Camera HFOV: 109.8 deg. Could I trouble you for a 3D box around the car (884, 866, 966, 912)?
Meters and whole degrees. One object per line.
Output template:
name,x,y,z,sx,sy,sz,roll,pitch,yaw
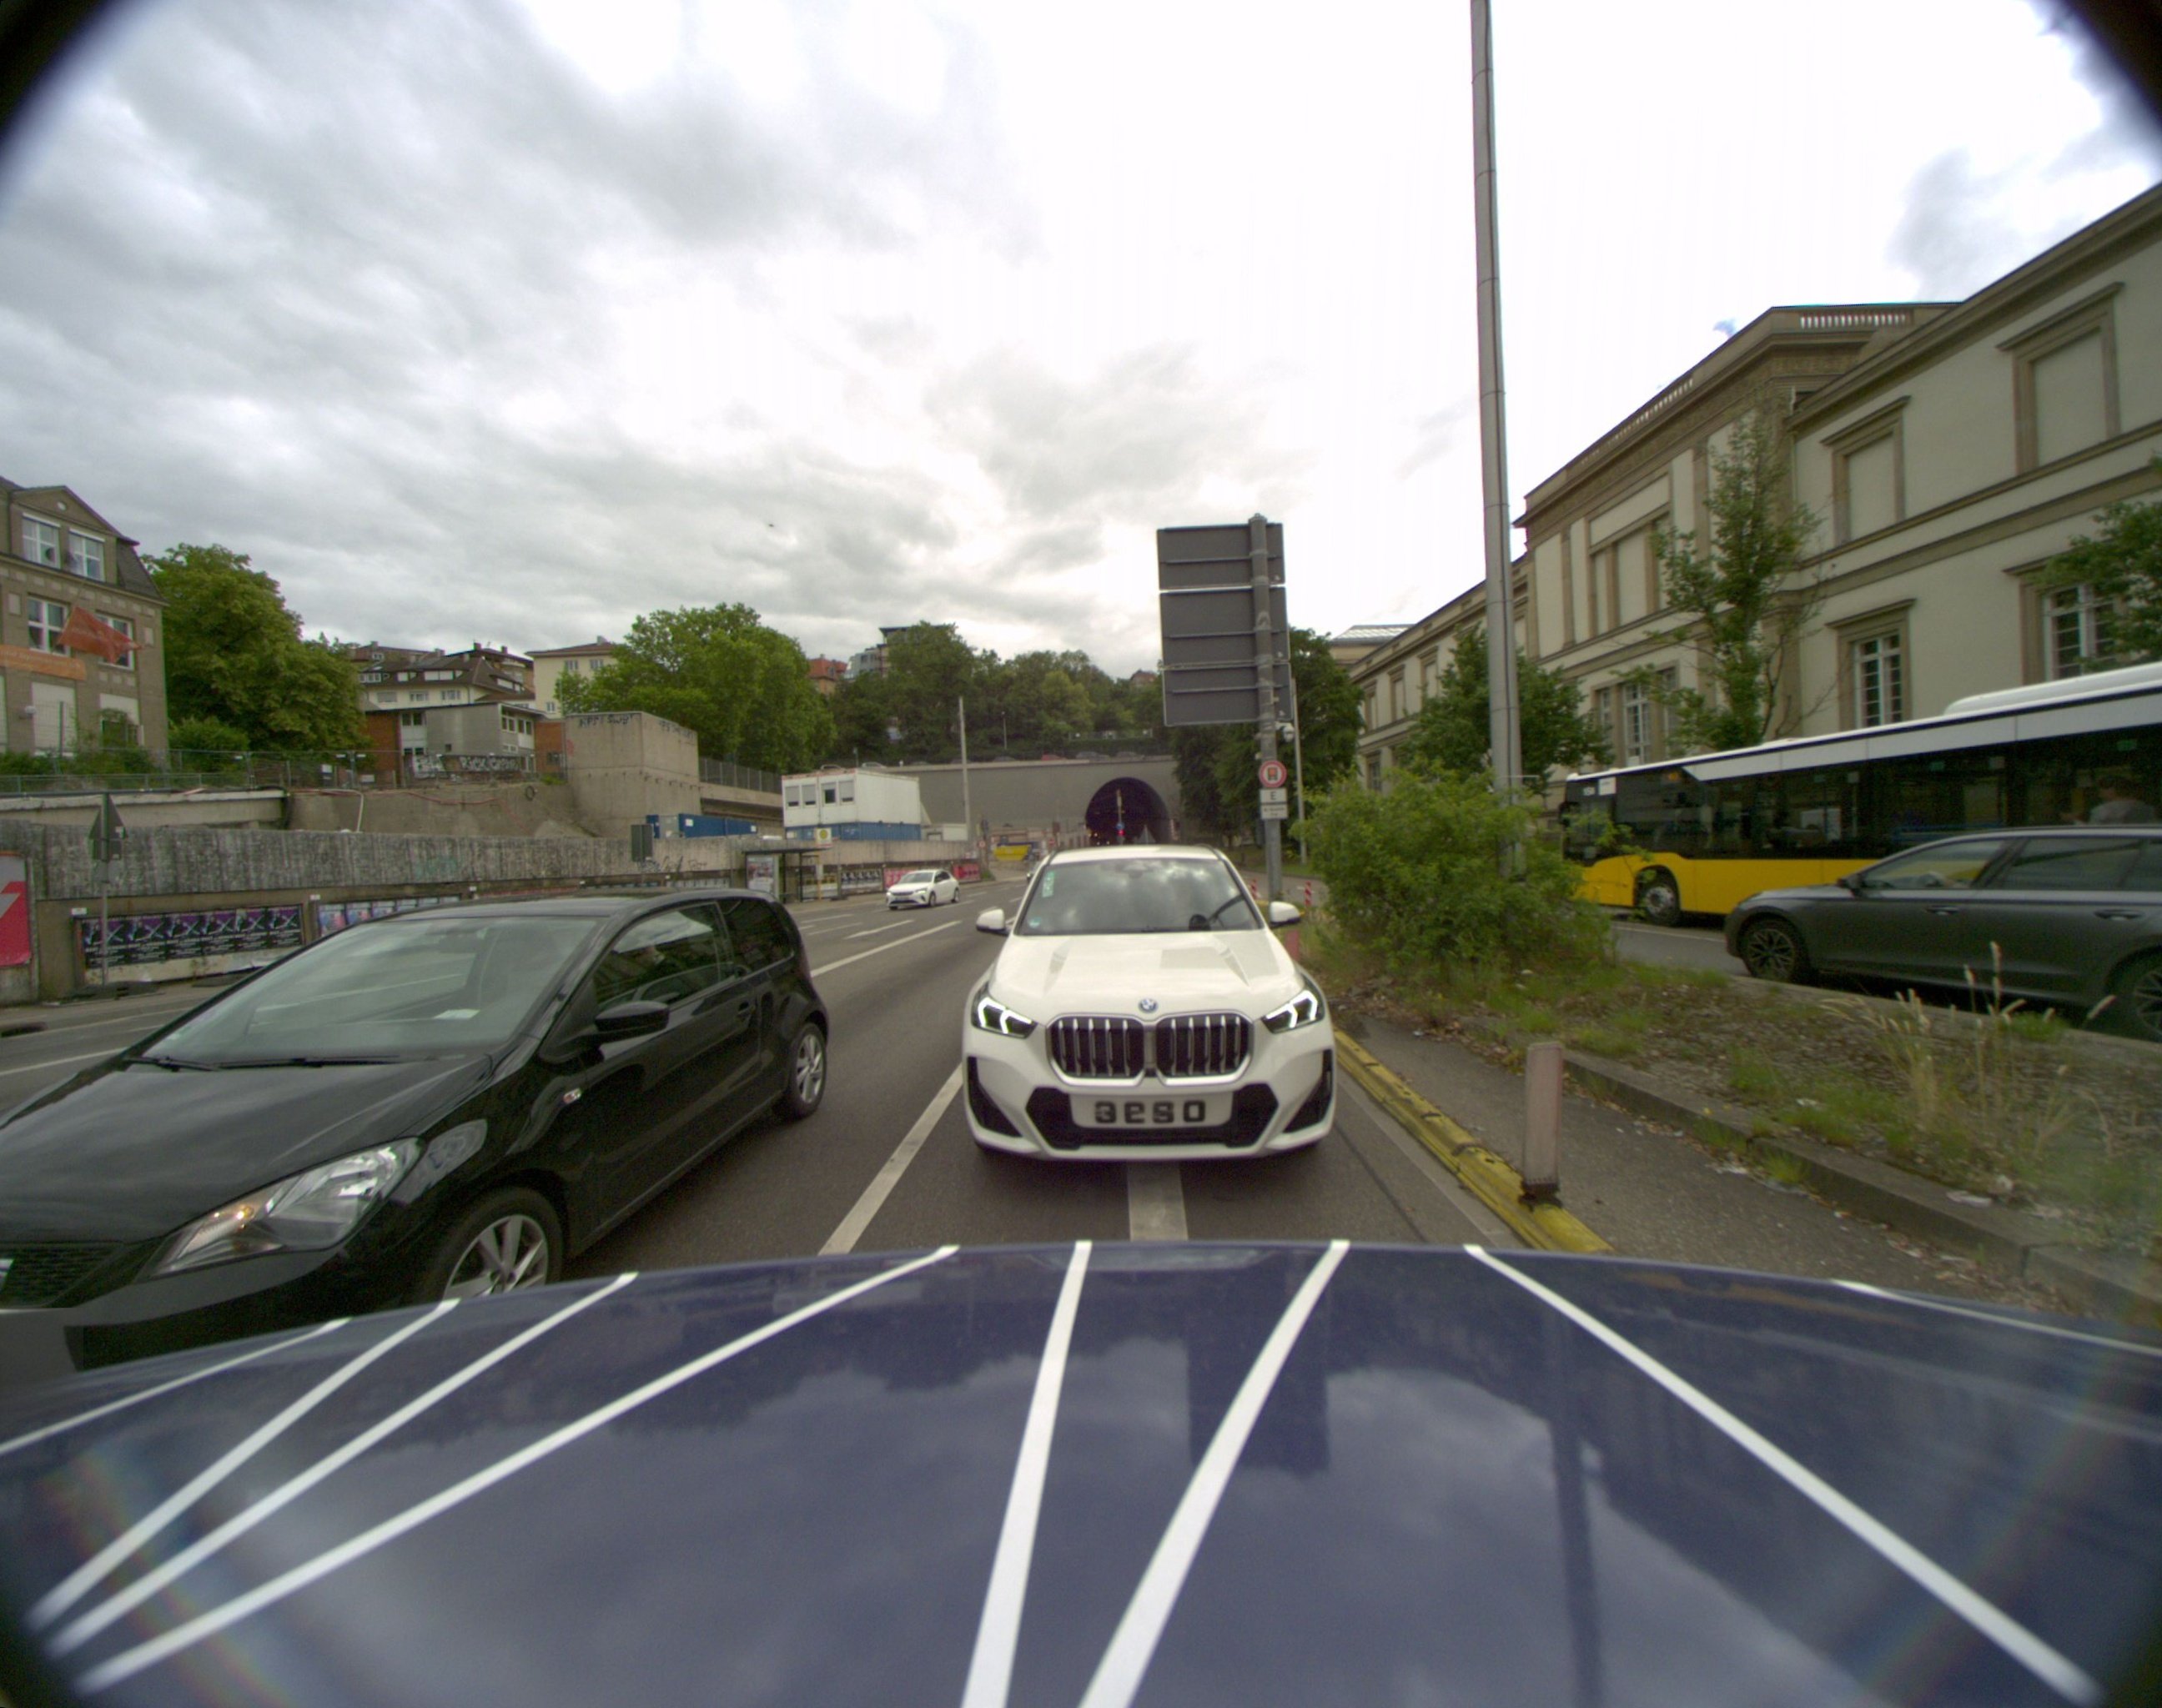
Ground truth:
car,-6.019,1.319,29.749,1.662,1.471,4.003,-3,0,11

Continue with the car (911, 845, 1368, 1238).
car,0.306,0.793,5.142,1.848,1.581,3.882,-3,0,2

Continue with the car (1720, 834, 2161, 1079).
car,7.456,0.622,5.628,1.711,1.505,4.287,0,0,-3

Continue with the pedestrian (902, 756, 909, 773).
pedestrian,-21.774,-11.113,94.250,0.581,2.002,0.577,-2,1,-3

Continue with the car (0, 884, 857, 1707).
car,-2.509,1.002,3.411,1.667,1.487,3.882,-3,0,2

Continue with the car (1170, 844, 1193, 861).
car,9.099,-0.128,68.940,1.539,1.542,2.823,-2,0,-2

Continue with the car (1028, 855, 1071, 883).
car,-2.005,0.956,49.496,1.825,1.562,4.657,-3,0,9

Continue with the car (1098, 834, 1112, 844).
car,3.353,-2.075,106.410,1.728,1.310,4.000,-3,0,1

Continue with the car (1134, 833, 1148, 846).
car,7.996,-1.932,102.280,1.667,1.582,3.882,-1,0,2

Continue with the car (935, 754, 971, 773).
car,-15.806,-11.193,93.898,3.998,2.002,1.999,-2,1,-2

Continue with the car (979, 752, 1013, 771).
car,-10.487,-11.388,94.009,3.998,2.002,1.999,-2,1,-2

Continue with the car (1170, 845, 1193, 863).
car,9.132,-0.004,69.367,1.667,1.582,3.882,-1,0,2

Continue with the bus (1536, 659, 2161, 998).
bus,11.257,-0.297,11.425,2.853,3.096,9.747,-3,0,0

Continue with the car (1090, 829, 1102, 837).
car,2.831,-3.902,141.900,1.730,1.435,4.001,-3,0,5

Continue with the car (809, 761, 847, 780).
car,-31.067,-10.246,93.311,3.998,2.002,1.999,-2,1,-5

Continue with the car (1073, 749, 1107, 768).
car,1.097,-11.817,94.488,3.998,2.002,1.999,-2,1,-2

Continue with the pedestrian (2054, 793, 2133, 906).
pedestrian,15.503,-0.062,11.648,0.586,1.685,0.459,-2,1,35

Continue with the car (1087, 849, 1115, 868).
car,1.878,0.415,69.265,1.703,1.550,4.554,-3,0,11

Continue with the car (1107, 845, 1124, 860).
car,3.920,-0.201,86.240,1.705,1.550,4.550,-3,0,1

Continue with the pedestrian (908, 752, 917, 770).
pedestrian,-20.084,-11.118,90.717,0.851,2.002,0.905,-3,1,-3

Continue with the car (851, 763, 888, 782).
car,-26.018,-10.059,93.375,3.998,2.002,1.999,-2,1,-5

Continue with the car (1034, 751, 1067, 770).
car,-3.781,-11.638,94.404,3.998,2.002,1.999,-2,1,-2
